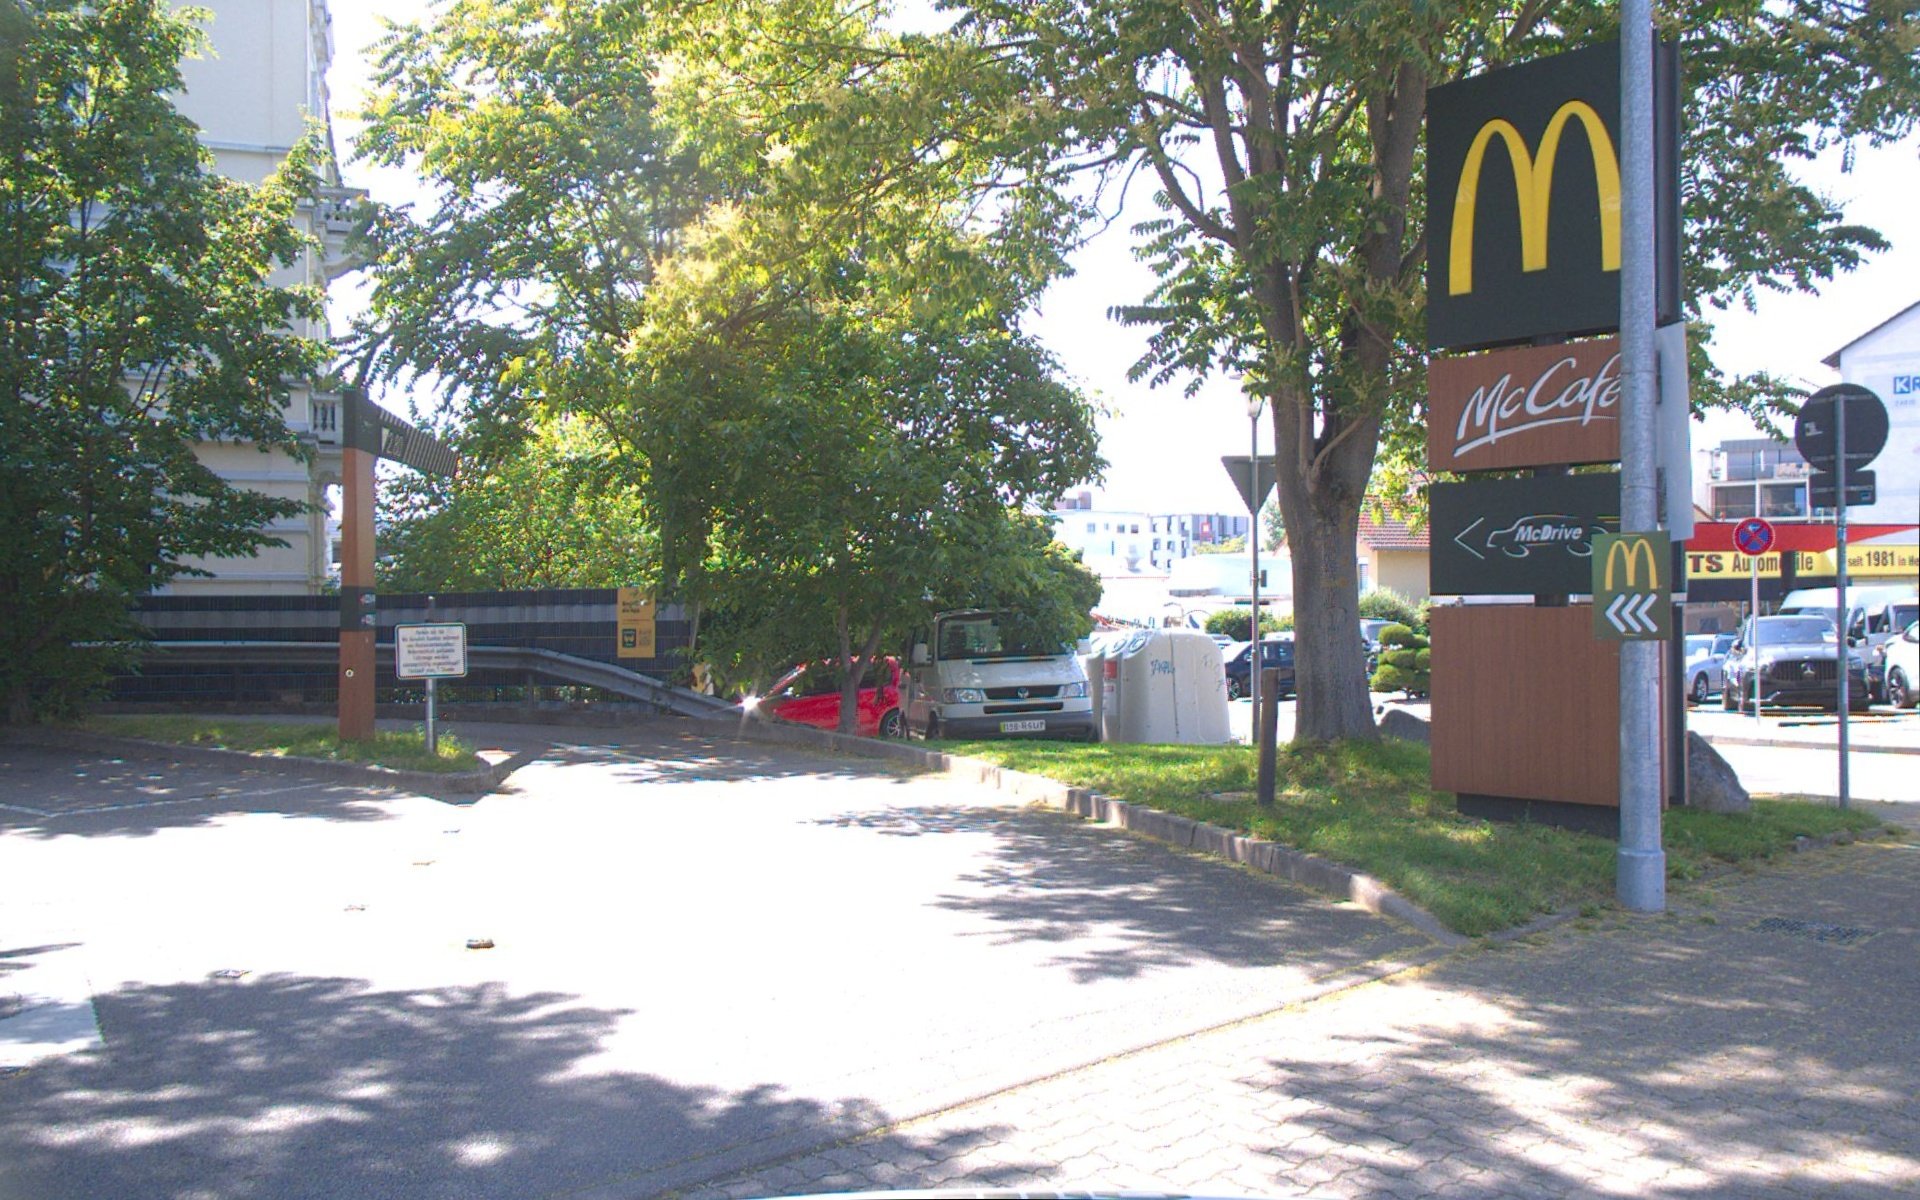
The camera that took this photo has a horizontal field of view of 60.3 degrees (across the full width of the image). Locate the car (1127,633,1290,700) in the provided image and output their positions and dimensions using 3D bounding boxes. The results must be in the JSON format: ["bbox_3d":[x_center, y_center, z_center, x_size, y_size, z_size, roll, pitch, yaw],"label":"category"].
[{"bbox_3d":[6.731,1.807,44.921,3.925,1.736,1.990,1,-1,-18],"label":"car"}]

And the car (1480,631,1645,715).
[{"bbox_3d":[12.024,1.409,32.888,1.762,1.536,3.976,0,-1,42],"label":"car"}]

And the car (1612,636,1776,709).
[{"bbox_3d":[16.353,1.590,36.792,3.960,1.513,1.769,2,-1,-39],"label":"car"}]

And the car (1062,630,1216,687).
[{"bbox_3d":[5.741,1.882,53.056,4.579,1.756,1.984,2,-2,-25],"label":"car"}]

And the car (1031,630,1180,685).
[{"bbox_3d":[4.872,1.909,55.306,4.579,1.756,1.984,2,-2,-25],"label":"car"}]

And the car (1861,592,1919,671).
[{"bbox_3d":[22.978,0.741,39.011,1.851,1.768,4.689,1,0,44],"label":"car"}]

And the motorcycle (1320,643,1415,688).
[{"bbox_3d":[11.824,1.894,48.003,2.676,1.248,0.991,1,-1,-26],"label":"motorcycle"}]

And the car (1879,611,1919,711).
[{"bbox_3d":[17.911,1.086,28.965,1.951,1.756,4.003,1,-2,10],"label":"car"}]

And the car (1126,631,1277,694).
[{"bbox_3d":[7.035,1.821,48.249,3.936,1.756,1.984,2,-2,-25],"label":"car"}]

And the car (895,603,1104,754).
[{"bbox_3d":[0.337,0.854,20.349,1.914,1.611,5.024,1,0,-6],"label":"car"}]

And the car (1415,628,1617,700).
[{"bbox_3d":[13.243,1.502,39.606,4.229,1.613,2.001,1,-1,6],"label":"car"}]

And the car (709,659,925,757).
[{"bbox_3d":[-2.372,1.750,27.353,3.349,1.403,1.480,-1,1,-16],"label":"car"}]

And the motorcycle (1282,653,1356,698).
[{"bbox_3d":[9.790,2.067,45.121,1.832,1.179,0.789,1,-1,-6],"label":"motorcycle"}]

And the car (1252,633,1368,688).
[{"bbox_3d":[10.900,1.872,51.805,1.961,1.613,3.983,1,-1,-15],"label":"car"}]

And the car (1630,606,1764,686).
[{"bbox_3d":[19.964,1.229,44.709,1.965,2.049,4.466,0,-1,43],"label":"car"}]

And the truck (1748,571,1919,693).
[{"bbox_3d":[22.707,0.803,42.860,5.898,2.954,2.239,1,0,-44],"label":"truck"}]

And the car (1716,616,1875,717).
[{"bbox_3d":[14.652,1.124,29.225,2.004,1.622,4.424,0,-1,20],"label":"car"}]
